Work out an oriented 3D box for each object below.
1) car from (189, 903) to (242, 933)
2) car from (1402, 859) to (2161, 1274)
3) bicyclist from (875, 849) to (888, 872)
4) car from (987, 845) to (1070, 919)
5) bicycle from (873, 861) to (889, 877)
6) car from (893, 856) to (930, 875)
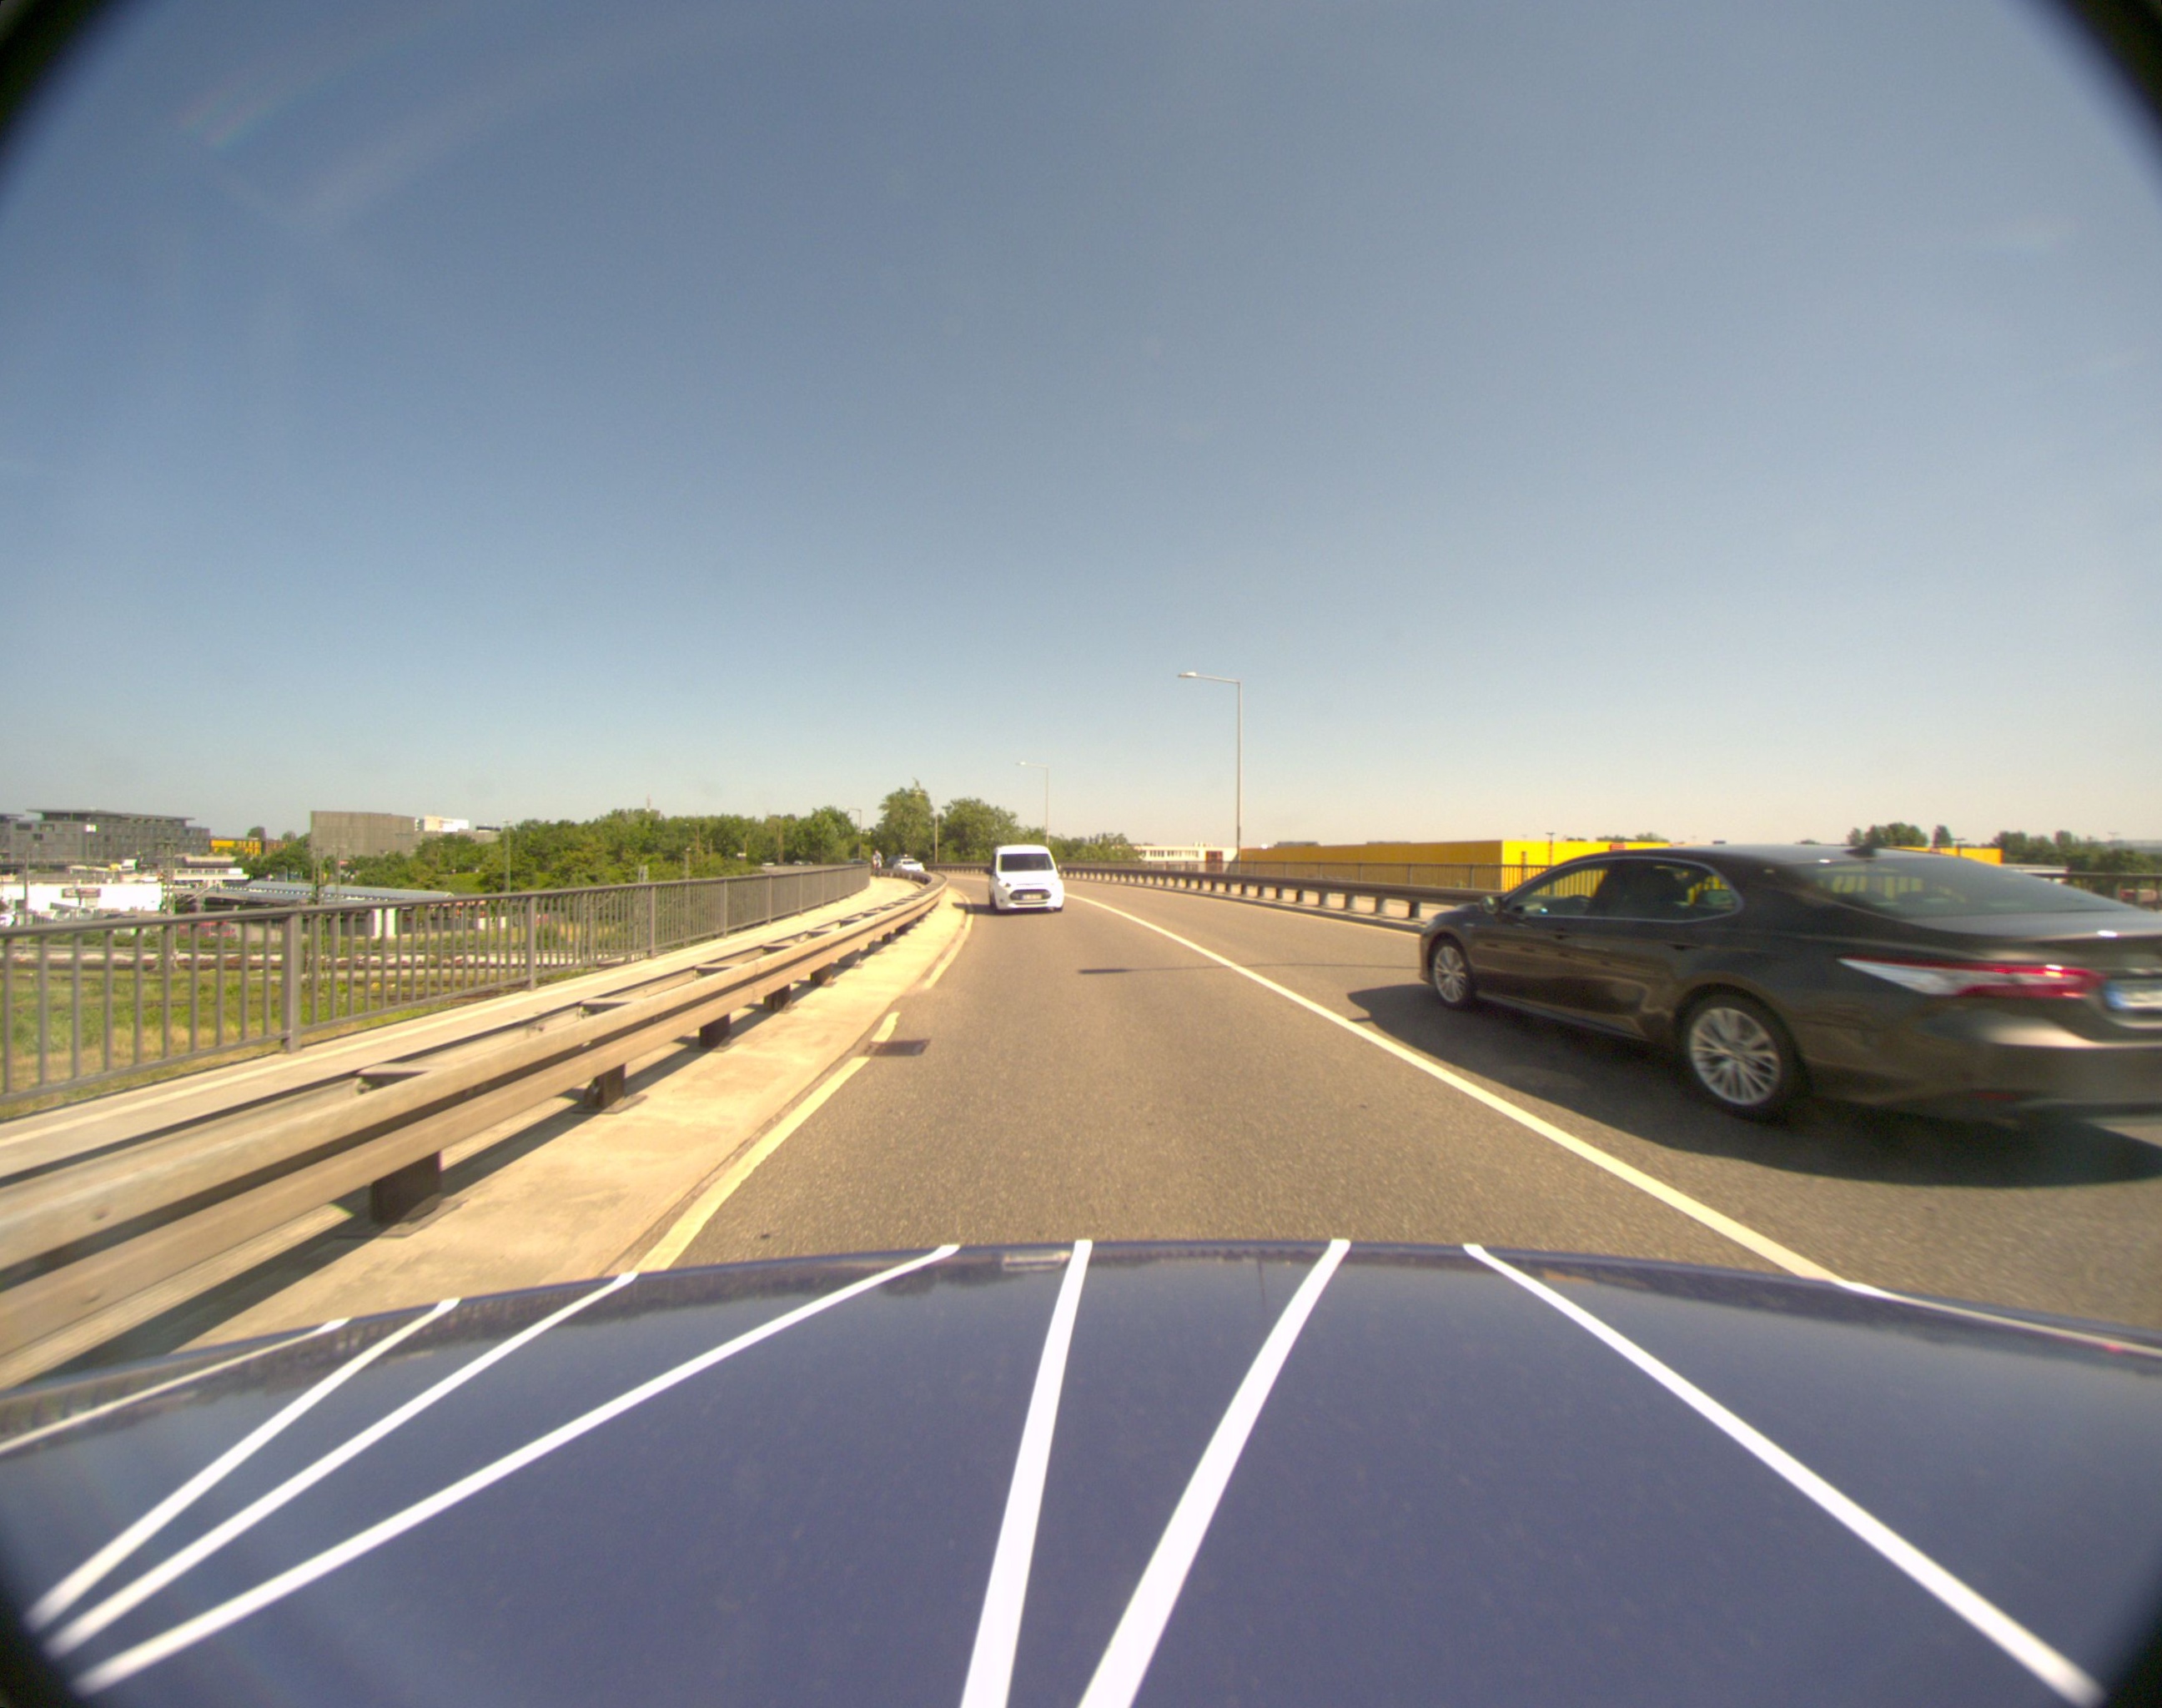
[{"bbox_3d":[-93.568,6.899,82.109,5.363,2.650,2.310,0,6,28],"label":"car"},{"bbox_3d":[4.197,0.761,5.131,1.823,1.421,4.863,-1,0,-2],"label":"car"},{"bbox_3d":[-13.048,0.431,49.641,0.661,1.511,0.801,2,-1,-26],"label":"bicyclist"},{"bbox_3d":[-1.570,0.705,21.242,1.898,1.785,4.444,-2,0,-9],"label":"car"},{"bbox_3d":[-13.118,0.992,49.737,0.705,1.013,1.842,2,-2,-24],"label":"bicycle"},{"bbox_3d":[-14.112,0.946,63.057,1.850,1.479,4.143,-2,0,-28],"label":"car"}]
